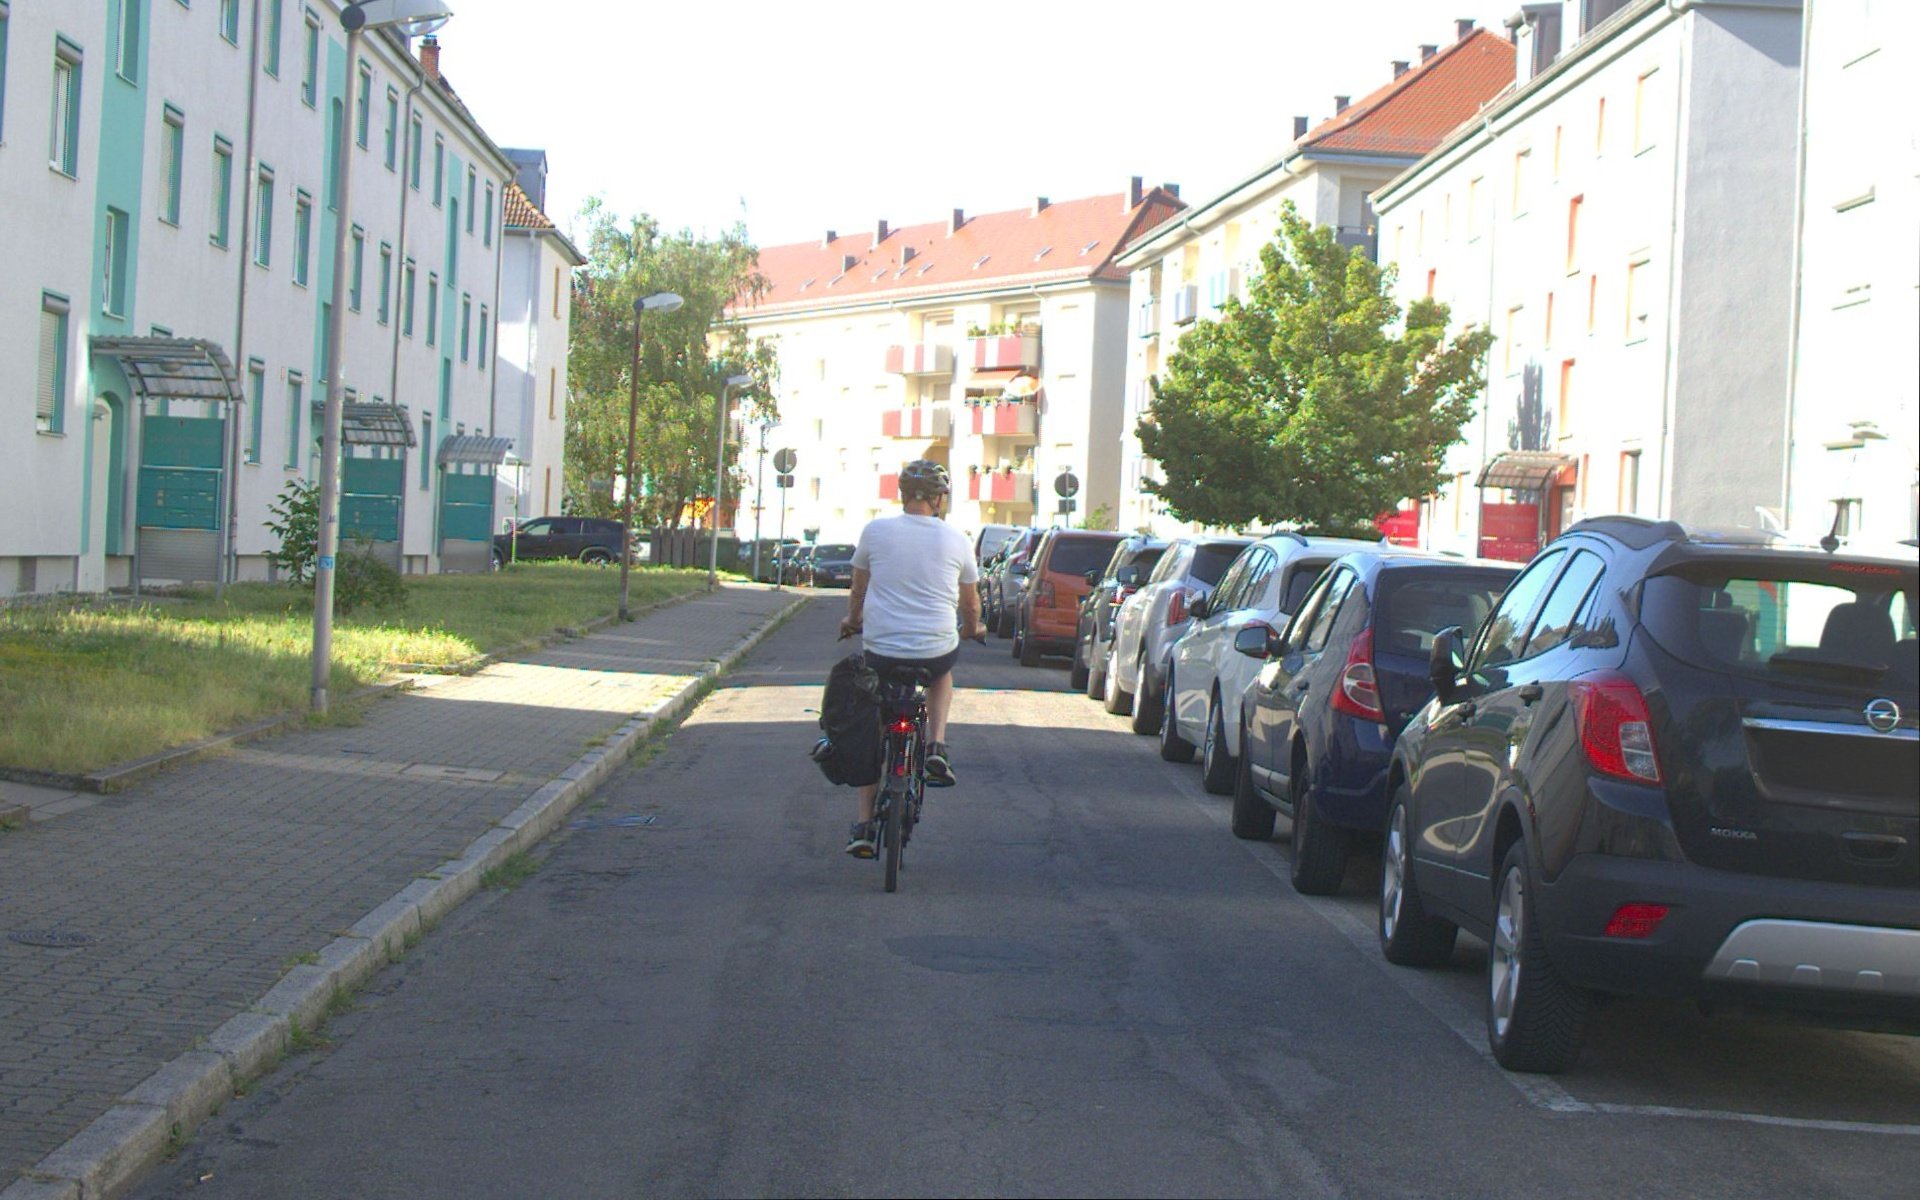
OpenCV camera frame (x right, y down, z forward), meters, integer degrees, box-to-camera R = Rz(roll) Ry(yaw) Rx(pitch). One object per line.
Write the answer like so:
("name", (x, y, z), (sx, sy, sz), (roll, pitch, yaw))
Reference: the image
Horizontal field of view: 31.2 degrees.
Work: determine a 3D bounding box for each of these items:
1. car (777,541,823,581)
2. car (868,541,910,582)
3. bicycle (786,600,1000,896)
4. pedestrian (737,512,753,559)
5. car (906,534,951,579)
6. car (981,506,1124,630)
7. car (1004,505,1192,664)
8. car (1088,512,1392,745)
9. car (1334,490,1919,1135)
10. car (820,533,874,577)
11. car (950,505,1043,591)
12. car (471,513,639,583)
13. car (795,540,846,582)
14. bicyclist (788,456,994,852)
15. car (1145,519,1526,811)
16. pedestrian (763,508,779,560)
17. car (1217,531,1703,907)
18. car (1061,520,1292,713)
("car", (-5.555, -1.355, 119.044), (1.469, 1.331, 3.141), (-1, 1, -4))
("car", (-2.855, -1.560, 137.179), (1.469, 1.511, 3.078), (3, 1, -3))
("bicycle", (-0.321, 0.598, 14.905), (0.808, 1.124, 2.102), (2, 1, -4))
("pedestrian", (-6.514, -1.947, 104.191), (0.434, 1.422, 0.543), (1, 1, -2))
("car", (-1.145, -1.591, 124.555), (1.381, 1.492, 3.078), (3, 1, -3))
("car", (1.337, -0.514, 51.537), (1.700, 1.665, 4.380), (4, 1, -3))
("car", (1.585, -0.218, 40.955), (1.861, 1.662, 4.127), (4, 1, -1))
("car", (2.190, 0.158, 28.096), (1.750, 1.612, 4.453), (5, 1, -3))
("car", (2.431, 0.538, 11.343), (1.783, 1.642, 4.469), (4, 1, 0))
("car", (-3.565, -1.421, 108.051), (1.469, 1.331, 3.141), (-1, 1, -6))
("car", (0.767, -1.152, 75.031), (1.674, 1.733, 3.943), (3, 1, -3))
("car", (-10.477, -1.364, 89.179), (4.230, 1.633, 1.583), (2, 1, -5))
("car", (-4.577, -1.286, 112.394), (1.469, 1.331, 3.141), (-1, 1, -5))
("bicyclist", (-0.309, 0.219, 14.827), (0.808, 1.638, 0.899), (2, 1, -3))
("car", (2.287, 0.324, 22.046), (1.690, 1.569, 4.435), (4, 1, -2))
("pedestrian", (-5.742, -2.004, 104.211), (0.434, 1.569, 0.543), (1, 1, -1))
("car", (2.243, 0.455, 16.439), (1.641, 1.493, 4.157), (2, 1, 0))
("car", (2.017, 0.095, 33.223), (1.712, 1.590, 4.398), (5, 1, -2))
